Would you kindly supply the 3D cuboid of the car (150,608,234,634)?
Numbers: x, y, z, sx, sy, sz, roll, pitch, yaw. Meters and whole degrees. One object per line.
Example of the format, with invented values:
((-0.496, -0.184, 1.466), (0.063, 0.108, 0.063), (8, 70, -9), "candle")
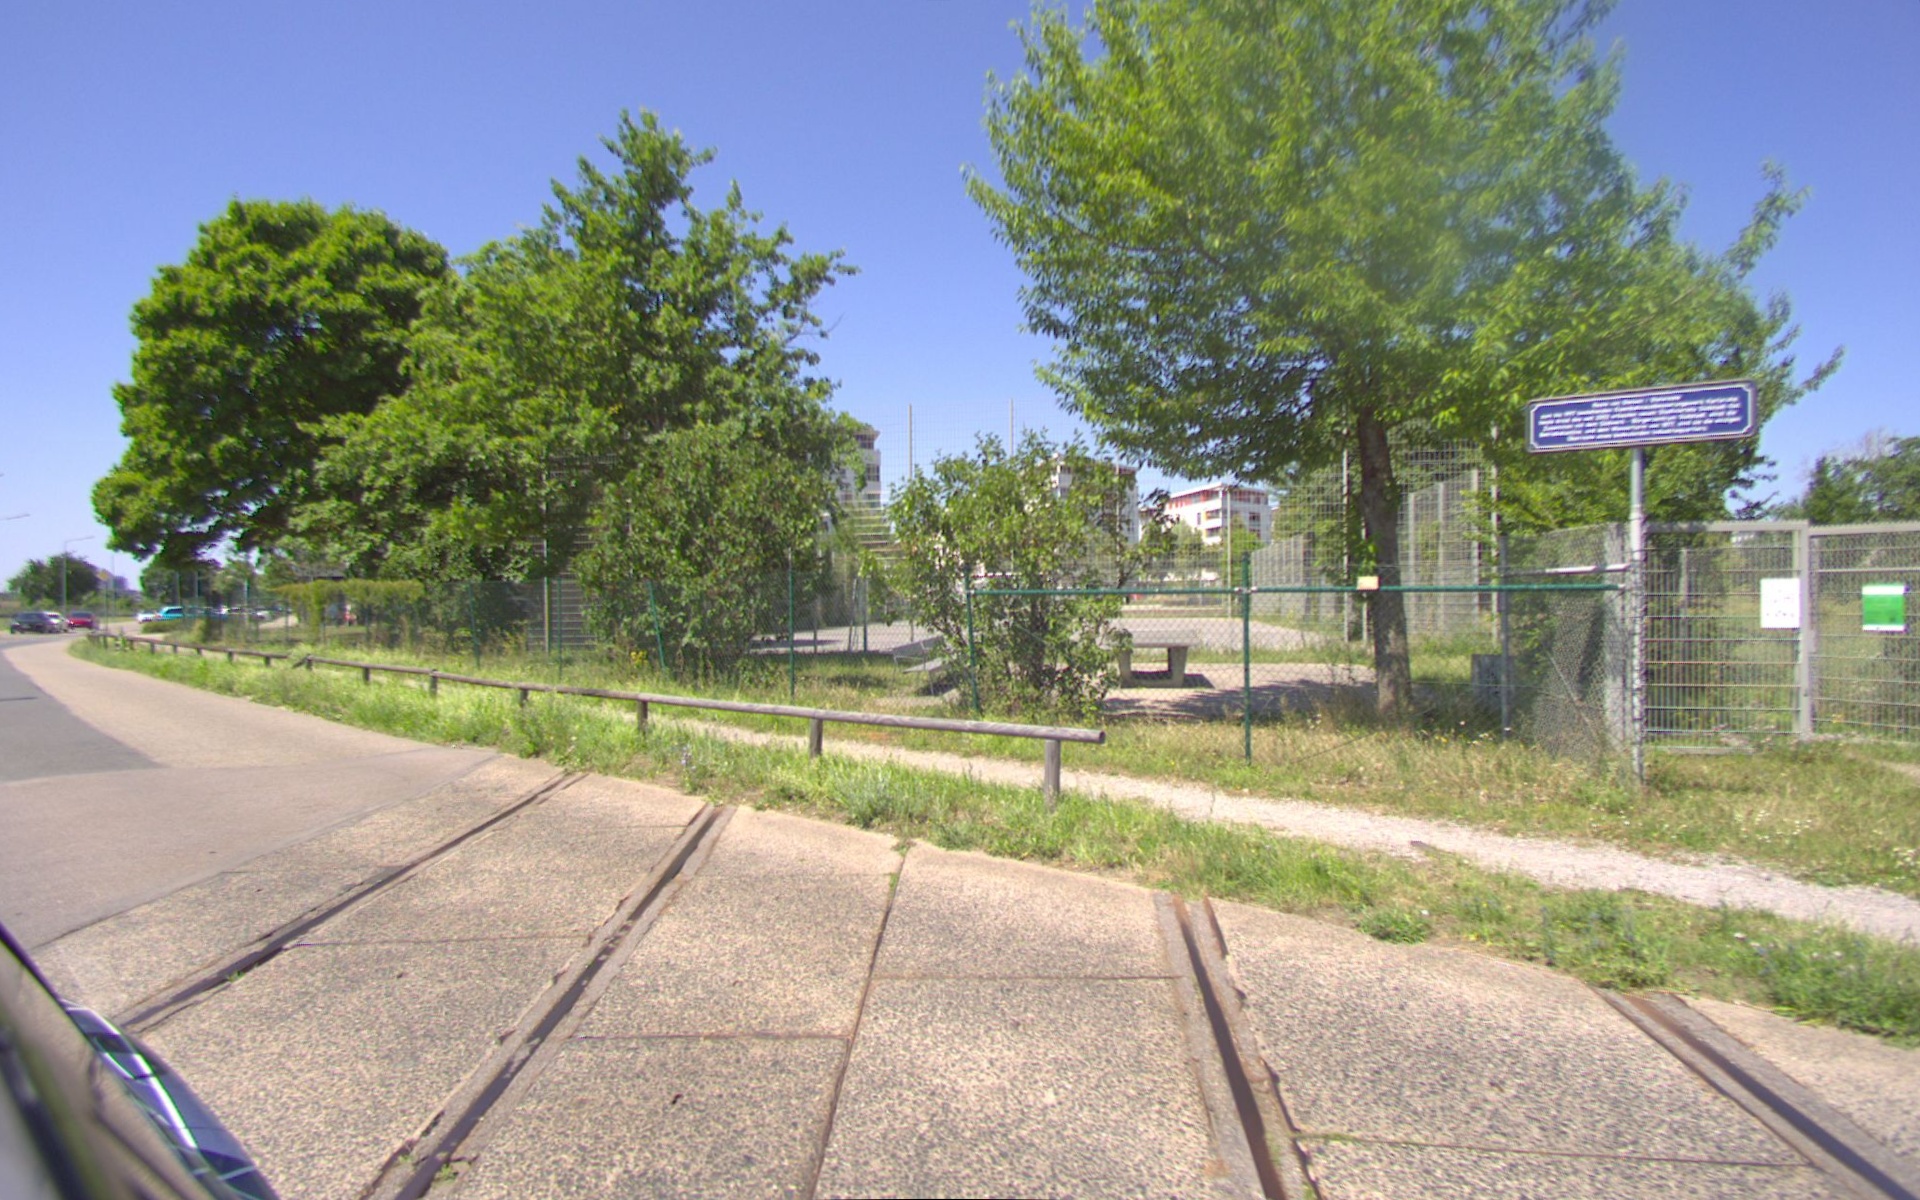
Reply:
((-47.800, 1.287, 63.083), (3.931, 1.564, 1.897), (-1, 0, -28), "car")

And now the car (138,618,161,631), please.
((-95.281, 2.892, 119.010), (1.627, 1.478, 3.877), (-1, 0, -32), "car")

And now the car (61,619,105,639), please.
((-71.020, 2.341, 81.993), (1.626, 1.478, 3.879), (-1, 0, -23), "car")

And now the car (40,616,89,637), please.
((-64.312, 1.882, 72.740), (1.626, 1.477, 3.879), (-1, 0, -25), "car")

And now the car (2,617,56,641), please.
((-61.572, 1.898, 66.982), (1.626, 1.478, 3.879), (-1, 0, -26), "car")
